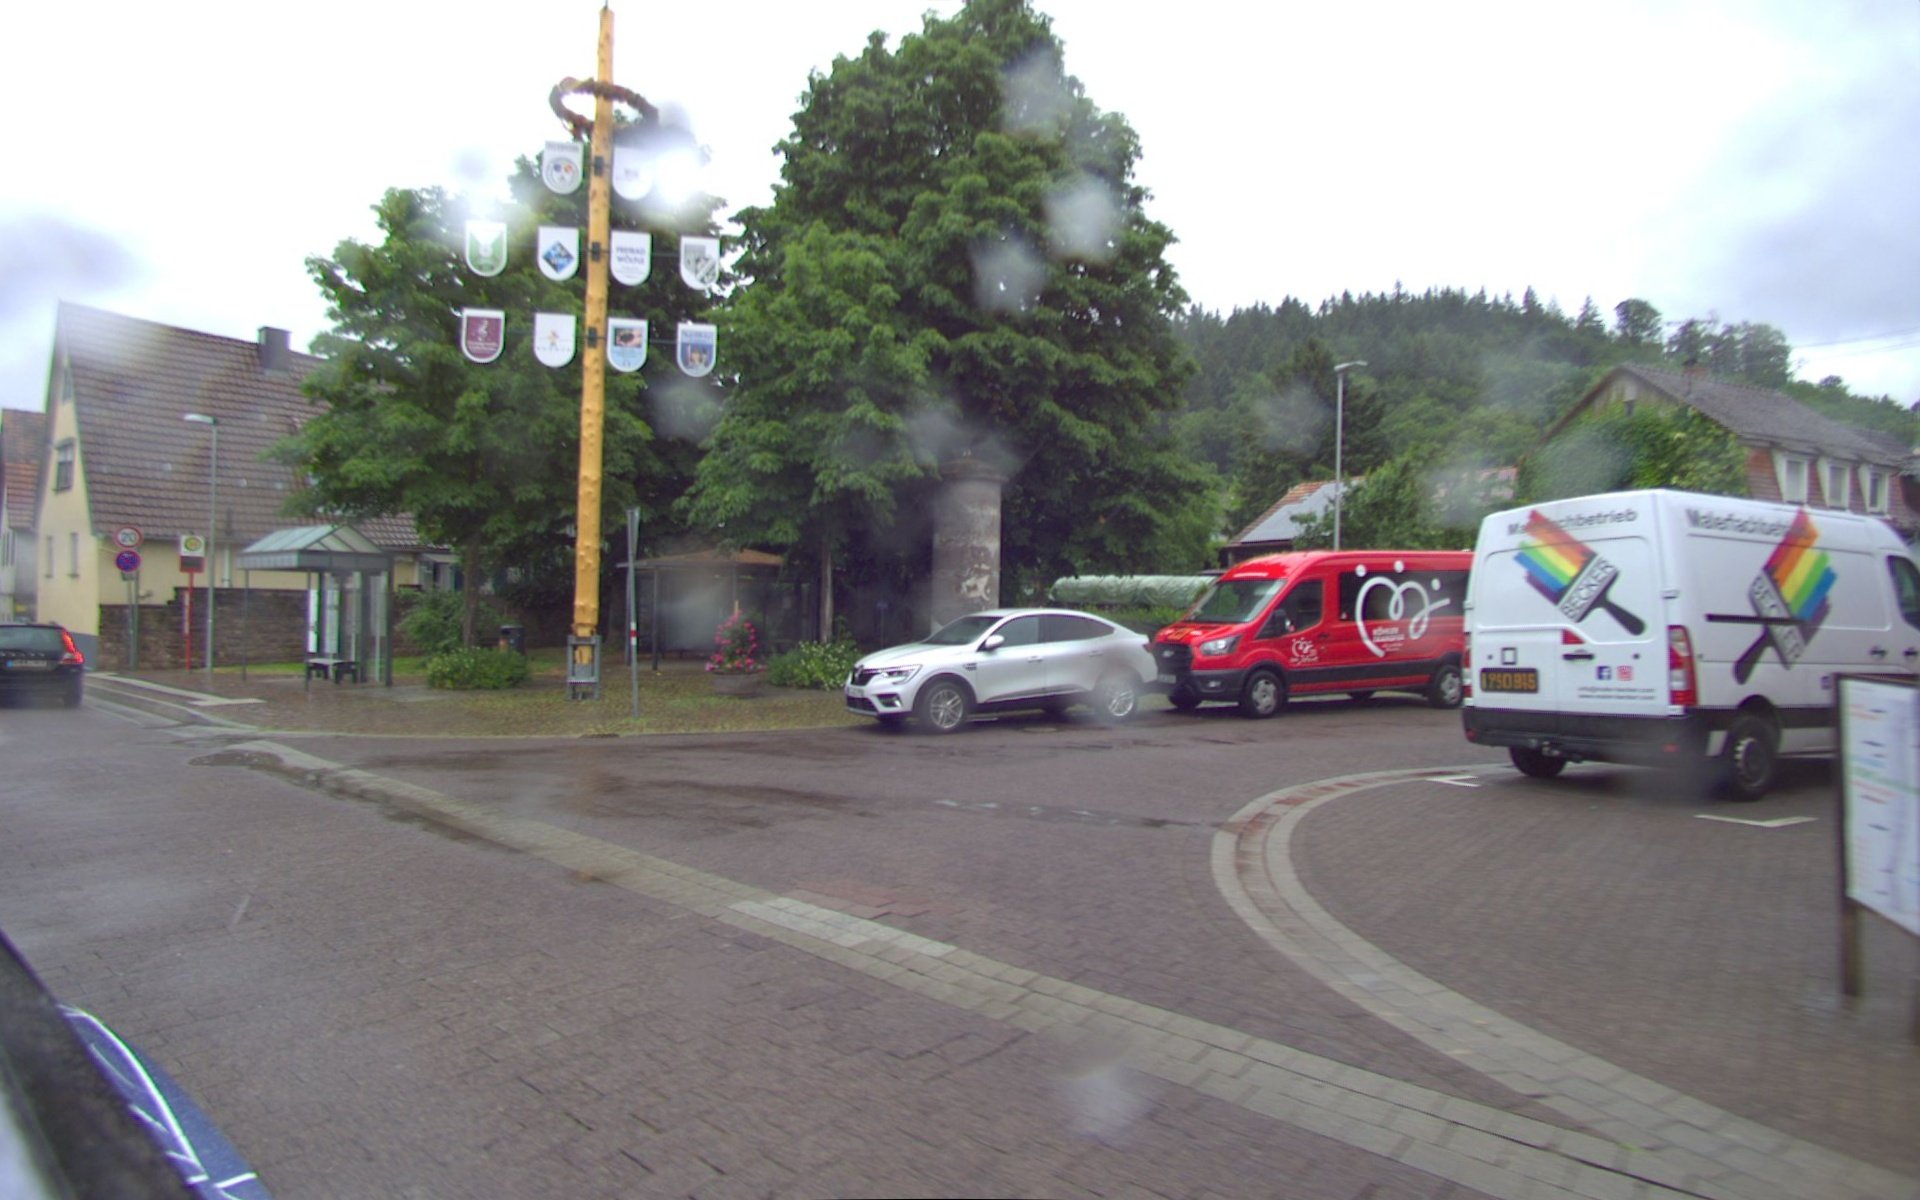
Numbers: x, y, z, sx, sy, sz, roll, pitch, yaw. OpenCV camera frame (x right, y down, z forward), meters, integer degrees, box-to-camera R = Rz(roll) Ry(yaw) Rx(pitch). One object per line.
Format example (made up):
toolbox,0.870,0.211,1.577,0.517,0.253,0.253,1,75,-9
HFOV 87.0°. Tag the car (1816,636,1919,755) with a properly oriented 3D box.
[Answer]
car,12.243,1.068,11.789,3.934,1.291,1.843,1,-2,-22

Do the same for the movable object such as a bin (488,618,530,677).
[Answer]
movable object such as a bin,-9.257,0.969,20.786,0.604,1.155,0.556,2,0,39

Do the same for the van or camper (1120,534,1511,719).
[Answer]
van or camper,5.571,0.364,15.776,5.775,2.492,2.162,0,0,-23

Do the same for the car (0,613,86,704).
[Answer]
car,-17.219,1.013,18.279,1.823,1.488,4.316,3,-3,-45

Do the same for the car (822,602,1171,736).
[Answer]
car,0.523,0.824,13.805,4.383,1.561,1.888,0,-1,-28

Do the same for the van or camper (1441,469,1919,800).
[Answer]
van or camper,7.329,0.321,9.504,5.069,2.454,2.218,1,-2,-22

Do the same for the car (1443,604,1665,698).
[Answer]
car,11.029,0.894,18.786,3.745,1.561,1.807,1,0,-27
